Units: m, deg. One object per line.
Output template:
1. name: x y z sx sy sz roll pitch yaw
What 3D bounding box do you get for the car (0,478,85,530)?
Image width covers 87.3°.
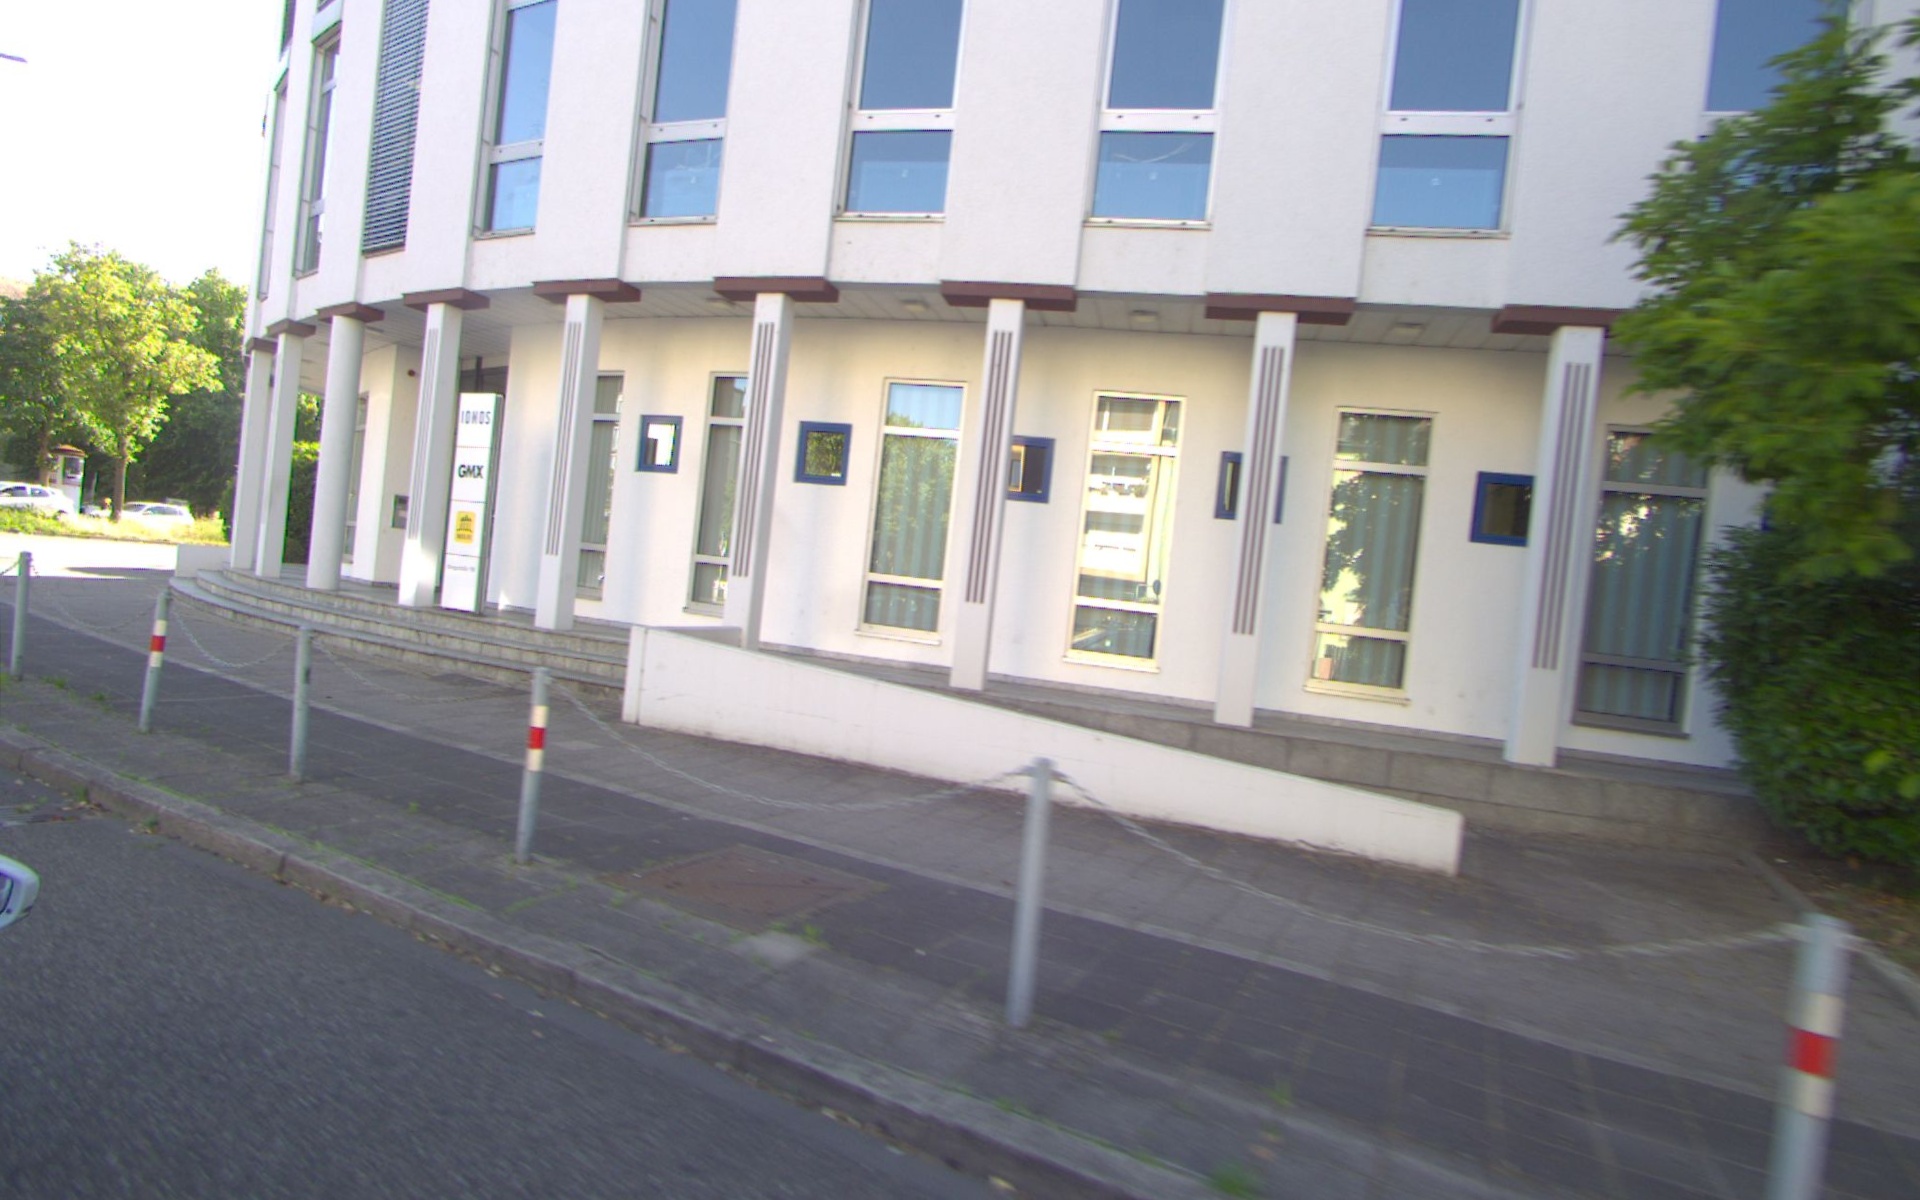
1. car: -33.404 -3.471 35.049 1.787 1.527 4.189 7 0 7

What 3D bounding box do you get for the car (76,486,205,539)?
1. car: -35.483 -3.764 43.691 1.886 1.664 4.002 7 0 9
